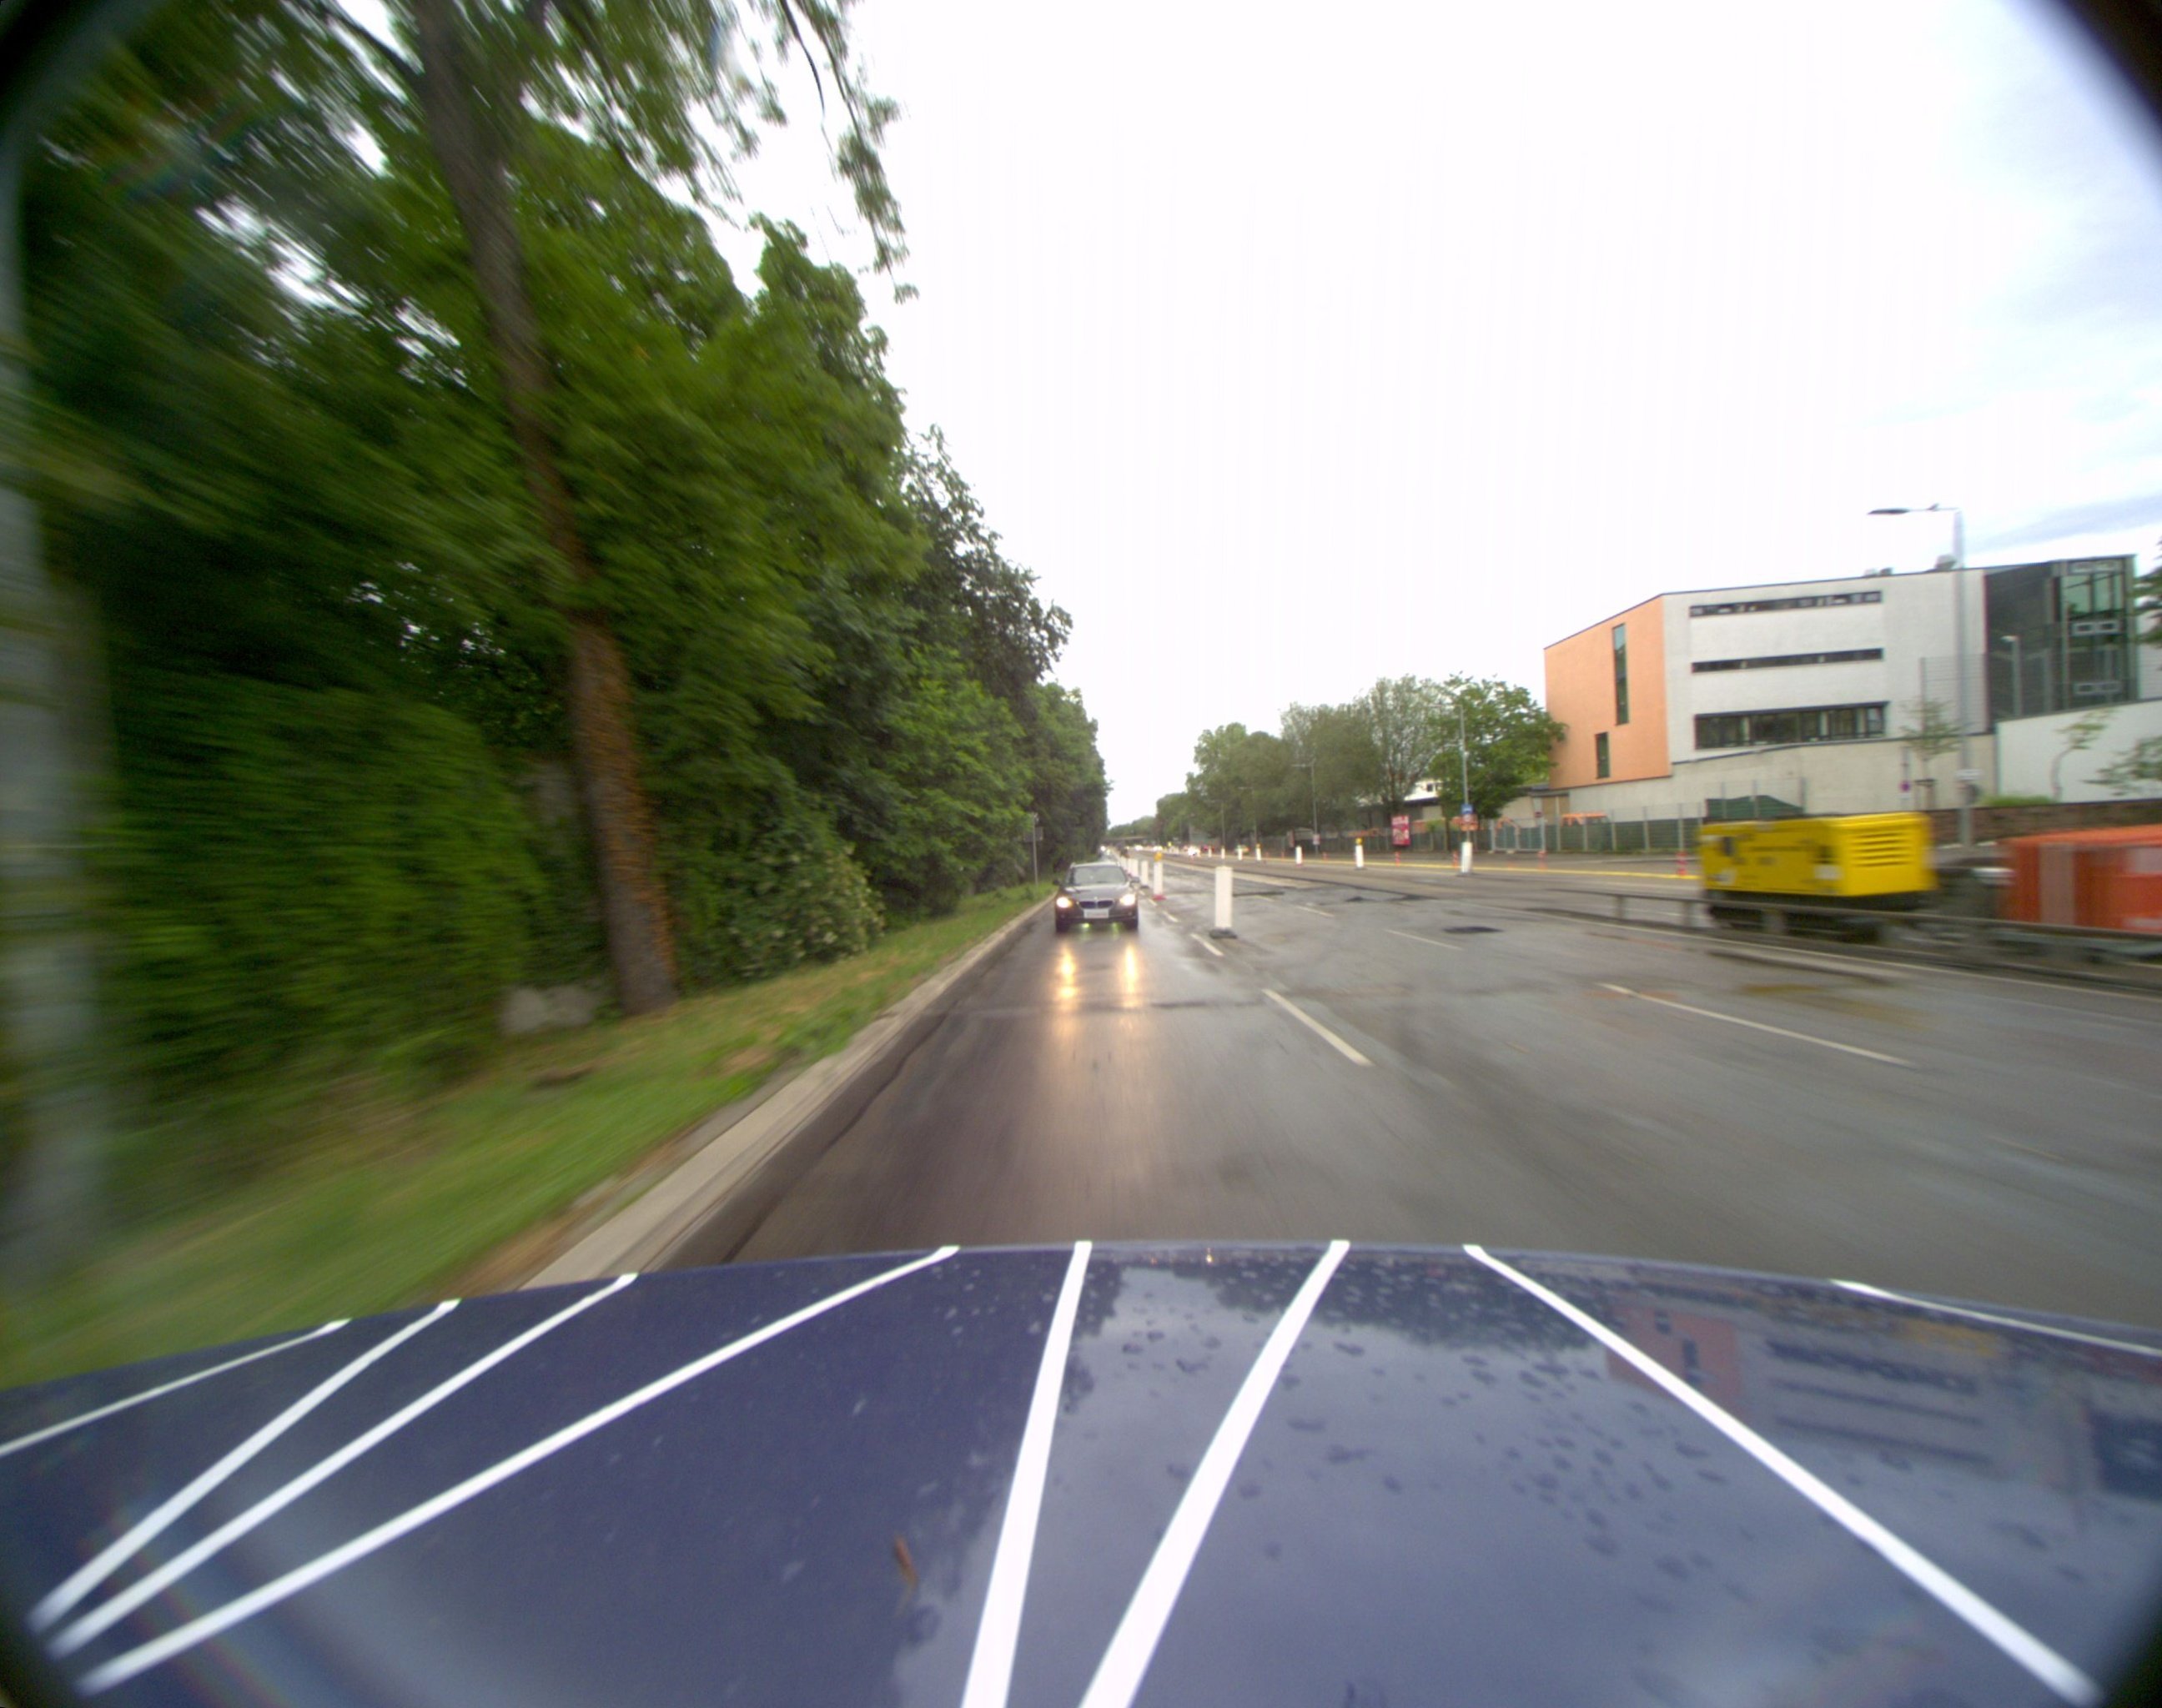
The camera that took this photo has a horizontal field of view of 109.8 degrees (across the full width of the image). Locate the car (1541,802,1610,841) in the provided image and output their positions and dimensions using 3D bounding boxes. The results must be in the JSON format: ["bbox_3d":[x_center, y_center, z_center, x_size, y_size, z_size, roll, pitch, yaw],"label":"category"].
[{"bbox_3d":[30.495,-1.951,47.001,1.614,2.158,4.000,-4,1,1],"label":"car"}]

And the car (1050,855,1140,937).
[{"bbox_3d":[0.384,0.856,17.692,1.742,1.454,4.458,-4,1,2],"label":"car"}]

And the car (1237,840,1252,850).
[{"bbox_3d":[25.458,-1.421,118.268,1.557,1.360,3.804,-2,1,2],"label":"car"}]

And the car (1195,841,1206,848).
[{"bbox_3d":[26.458,-2.137,167.989,1.863,1.467,3.732,-2,1,2],"label":"car"}]

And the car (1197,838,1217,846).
[{"bbox_3d":[25.910,-2.406,156.573,1.868,1.621,4.319,-2,1,-28],"label":"car"}]

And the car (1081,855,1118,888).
[{"bbox_3d":[1.025,0.885,40.239,1.742,1.454,4.458,-4,1,2],"label":"car"}]

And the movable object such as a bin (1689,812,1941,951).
[{"bbox_3d":[9.929,0.324,10.487,1.086,1.635,2.438,-4,1,1],"label":"movable object such as a bin"}]

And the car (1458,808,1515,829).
[{"bbox_3d":[35.883,-3.146,67.296,4.012,1.519,2.003,-3,1,40],"label":"car"}]
